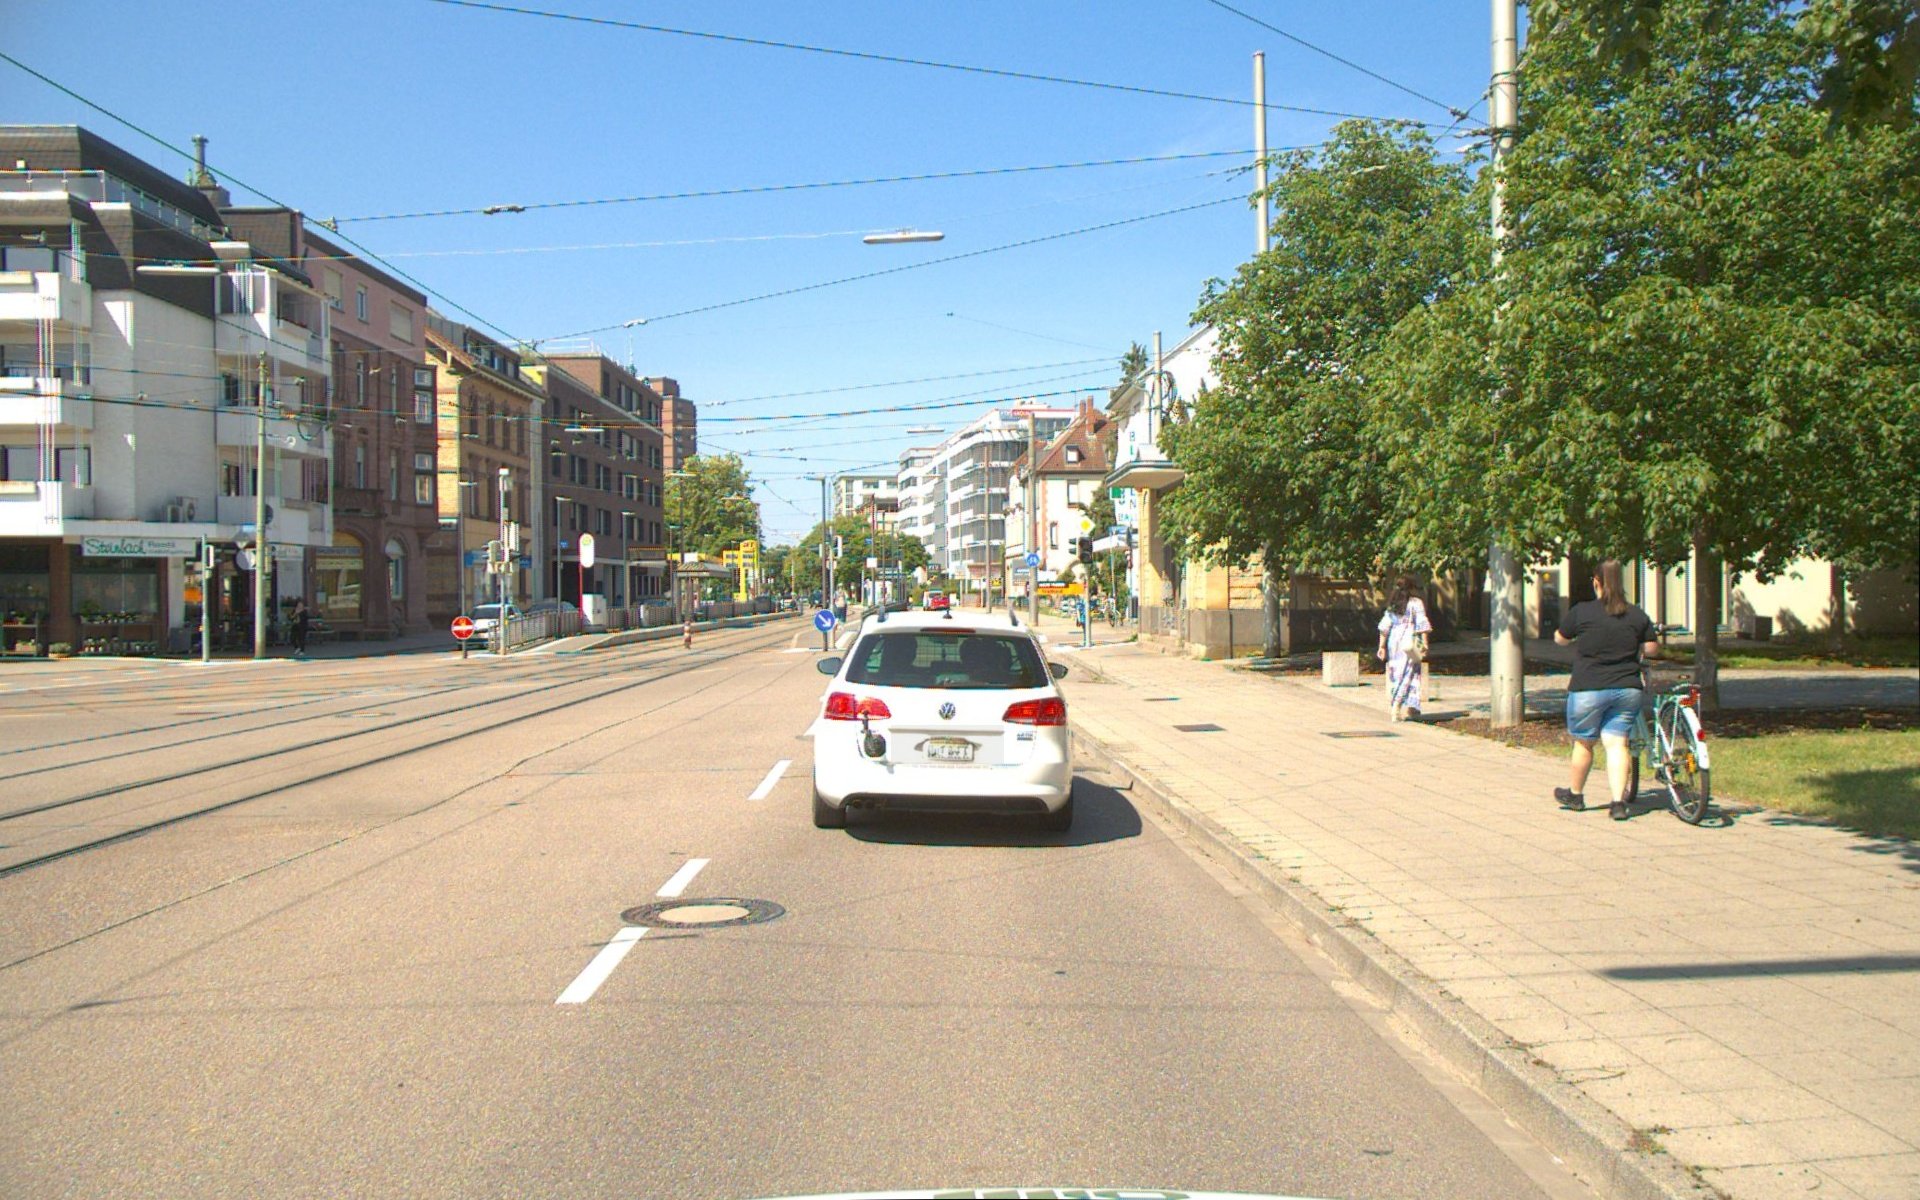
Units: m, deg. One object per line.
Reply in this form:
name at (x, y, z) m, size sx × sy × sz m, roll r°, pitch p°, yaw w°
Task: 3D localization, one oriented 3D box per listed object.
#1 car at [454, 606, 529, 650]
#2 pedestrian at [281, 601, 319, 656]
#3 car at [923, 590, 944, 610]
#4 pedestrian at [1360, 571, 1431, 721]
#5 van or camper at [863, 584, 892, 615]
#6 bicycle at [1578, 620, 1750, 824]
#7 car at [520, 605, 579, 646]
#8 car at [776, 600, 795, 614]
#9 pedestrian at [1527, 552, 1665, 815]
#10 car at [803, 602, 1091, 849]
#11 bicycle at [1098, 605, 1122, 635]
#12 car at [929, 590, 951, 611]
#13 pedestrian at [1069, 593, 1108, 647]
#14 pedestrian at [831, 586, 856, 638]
car at (-16.064, 0.945, 56.892) m, size 1.593 × 1.456 × 3.961 m, roll 0°, pitch 0°, yaw -2°
pedestrian at (-20.450, 0.866, 51.250) m, size 0.859 × 1.676 × 0.681 m, roll -1°, pitch 0°, yaw 12°
car at (-2.807, 0.039, 174.439) m, size 1.955 × 2.049 × 3.996 m, roll -1°, pitch 0°, yaw -5°
pedestrian at (5.112, 0.528, 19.405) m, size 0.637 × 1.711 × 0.706 m, roll -1°, pitch 0°, yaw 28°
van or camper at (-8.794, -0.100, 176.951) m, size 2.884 × 3.235 × 6.611 m, roll -1°, pitch 0°, yaw -2°
bicycle at (4.323, 0.705, 10.277) m, size 0.524 × 1.131 × 1.808 m, roll -2°, pitch 0°, yaw 9°
car at (-16.017, 0.977, 64.647) m, size 1.541 × 1.484 × 3.811 m, roll -1°, pitch 0°, yaw -4°
car at (-18.843, 0.780, 178.457) m, size 1.634 × 1.492 × 3.772 m, roll -1°, pitch 0°, yaw -1°
pedestrian at (3.996, 0.505, 10.427) m, size 0.529 × 1.576 × 0.663 m, roll -3°, pitch 0°, yaw -1°
car at (-0.086, 0.757, 11.918) m, size 1.717 × 1.442 × 3.852 m, roll -1°, pitch 0°, yaw 0°
bicycle at (6.121, 0.805, 67.357) m, size 0.710 × 1.159 × 2.196 m, roll -1°, pitch 0°, yaw 12°
car at (-2.034, 0.029, 169.035) m, size 1.955 × 2.049 × 3.996 m, roll -1°, pitch 0°, yaw -5°
pedestrian at (3.755, 0.585, 48.395) m, size 0.844 × 1.536 × 0.776 m, roll -1°, pitch 0°, yaw -23°
pedestrian at (-4.172, 0.433, 59.225) m, size 0.810 × 1.841 × 0.833 m, roll -1°, pitch 0°, yaw 0°
